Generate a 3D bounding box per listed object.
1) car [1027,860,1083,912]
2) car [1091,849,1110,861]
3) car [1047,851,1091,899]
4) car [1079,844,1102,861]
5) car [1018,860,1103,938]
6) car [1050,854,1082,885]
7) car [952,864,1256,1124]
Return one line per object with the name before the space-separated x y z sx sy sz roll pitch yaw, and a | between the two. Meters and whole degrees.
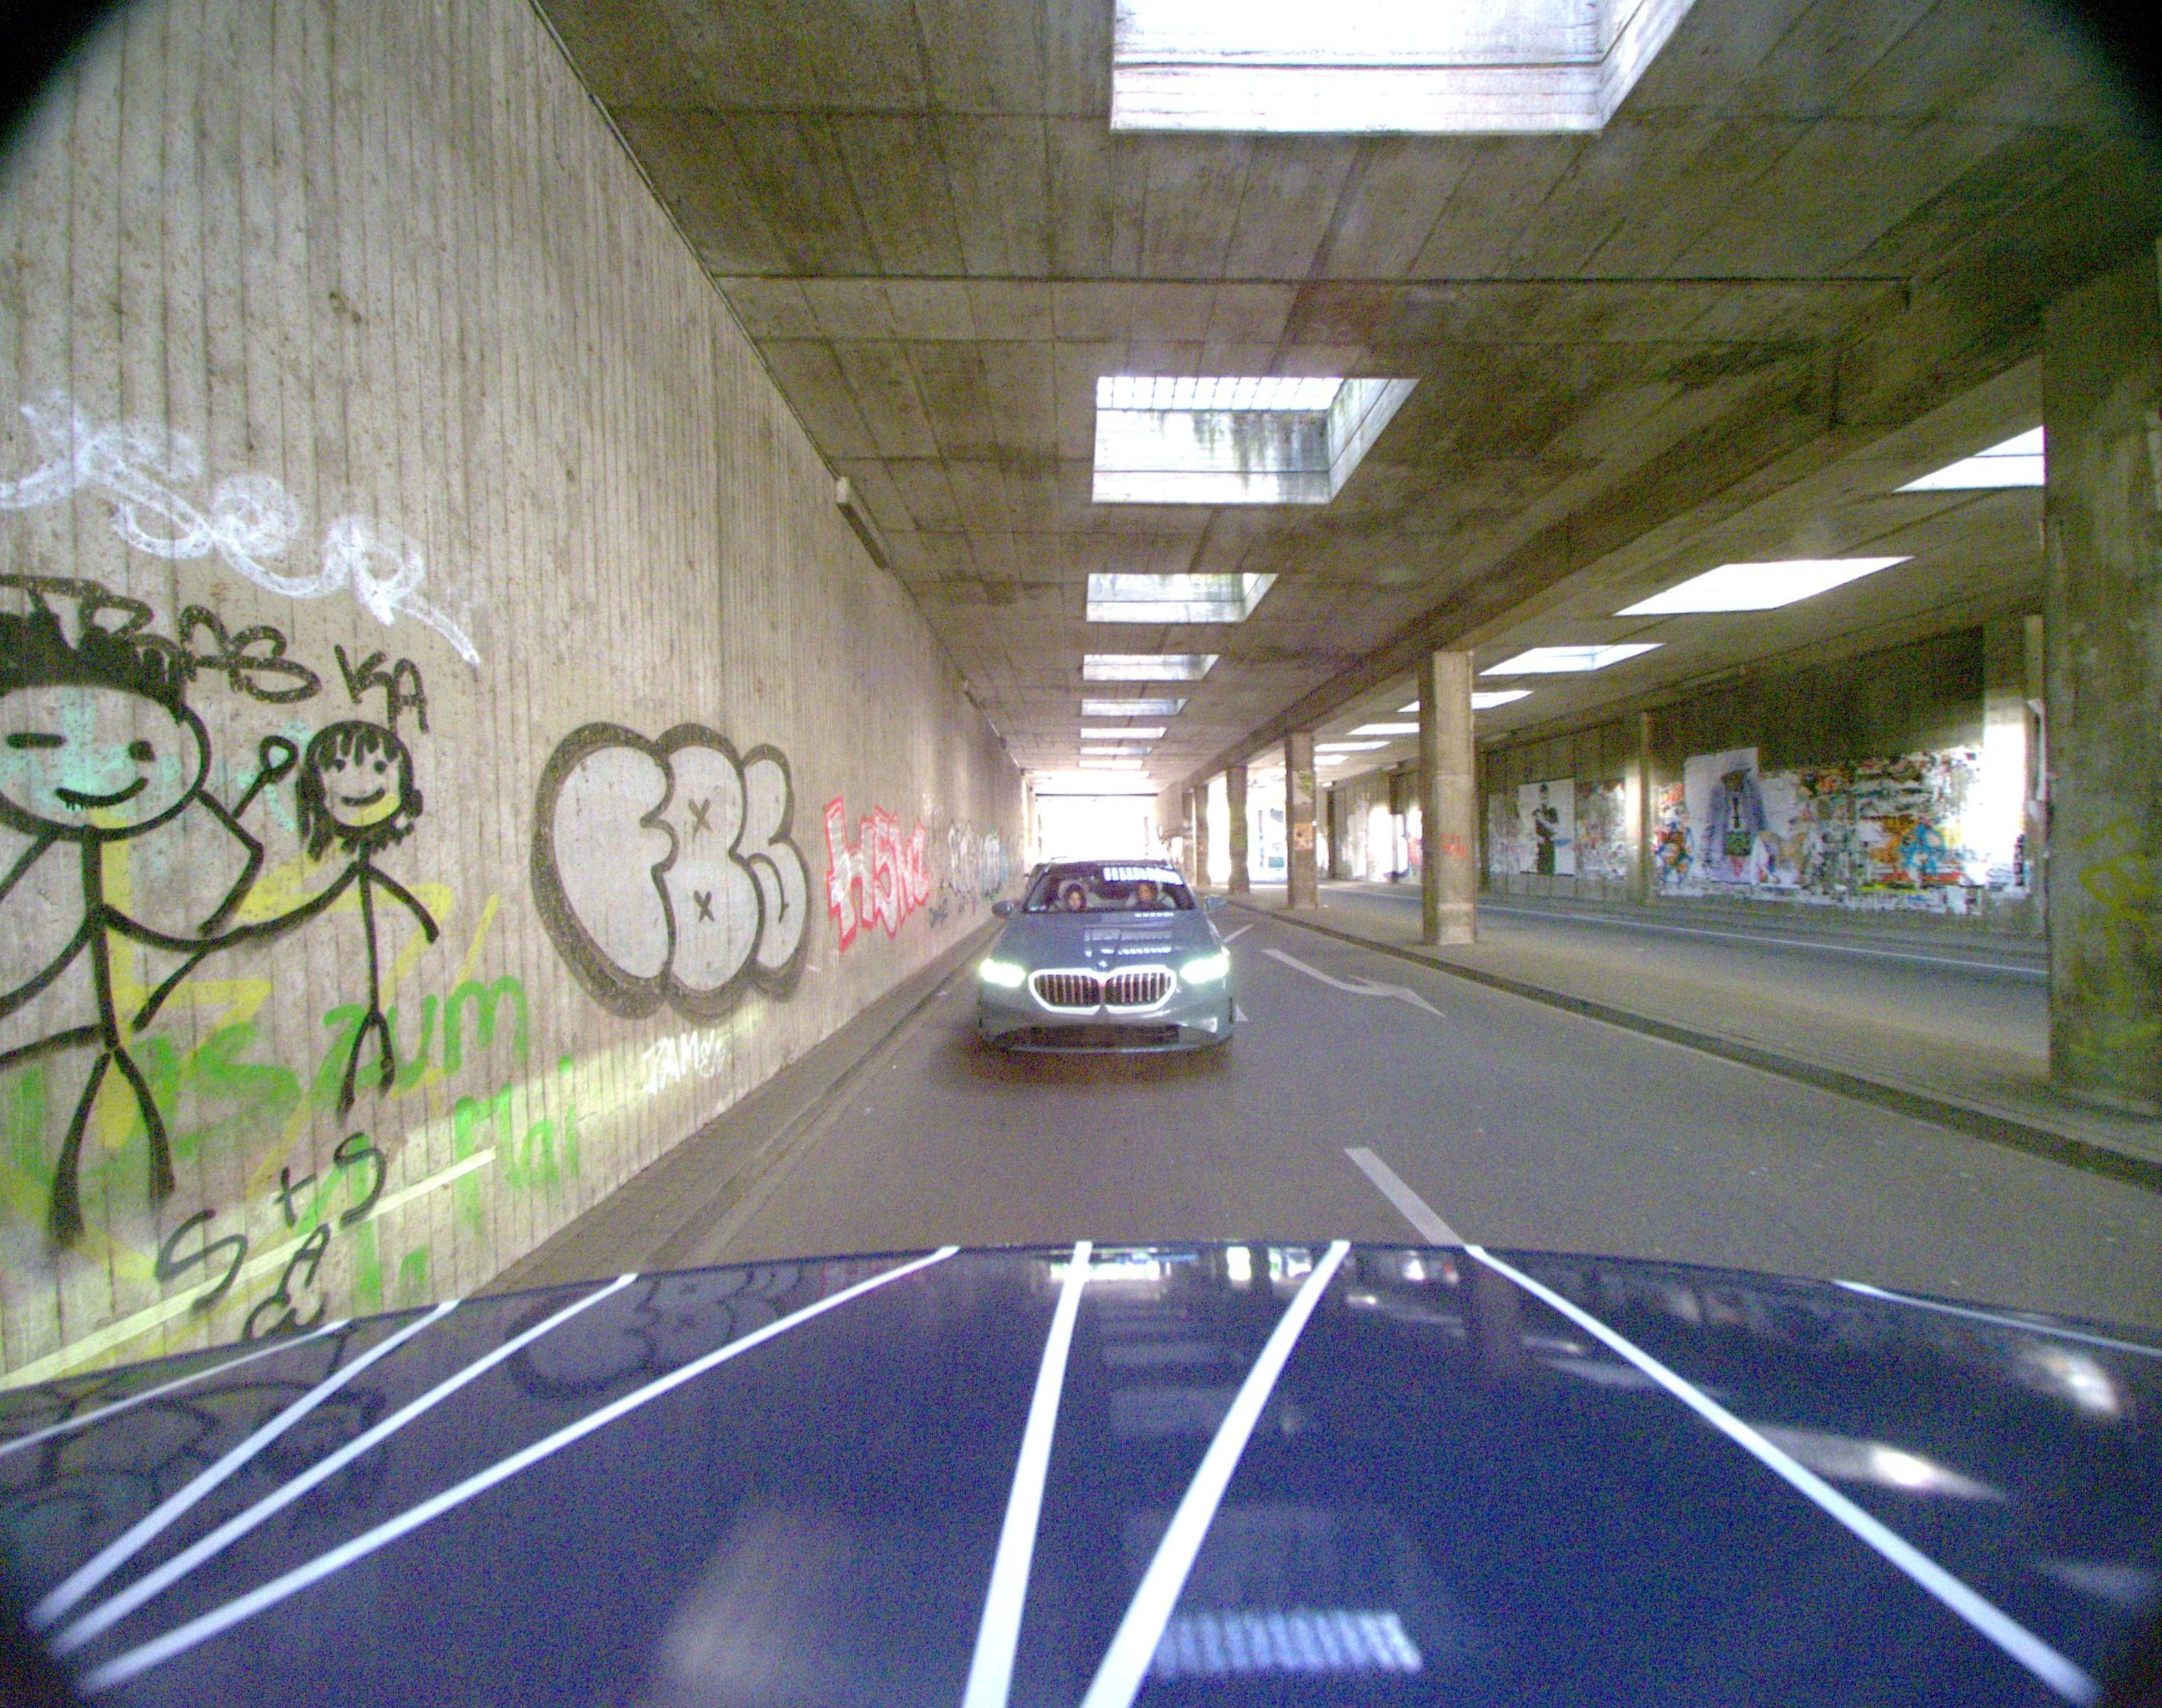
car | -0.755 0.948 23.897 1.592 1.432 3.806 -2 0 0
car | 2.491 0.142 97.951 1.741 1.519 3.786 -2 0 -9
car | -0.456 0.771 29.904 1.592 1.711 3.694 -2 0 0
car | 1.294 -0.188 103.643 2.161 2.150 4.785 -2 0 -12
car | -0.420 0.919 17.271 1.679 1.516 3.969 -2 0 0
car | -0.799 0.806 41.231 1.592 1.562 3.694 -2 0 0
car | 0.132 0.905 7.262 1.861 1.516 5.042 -2 0 0
